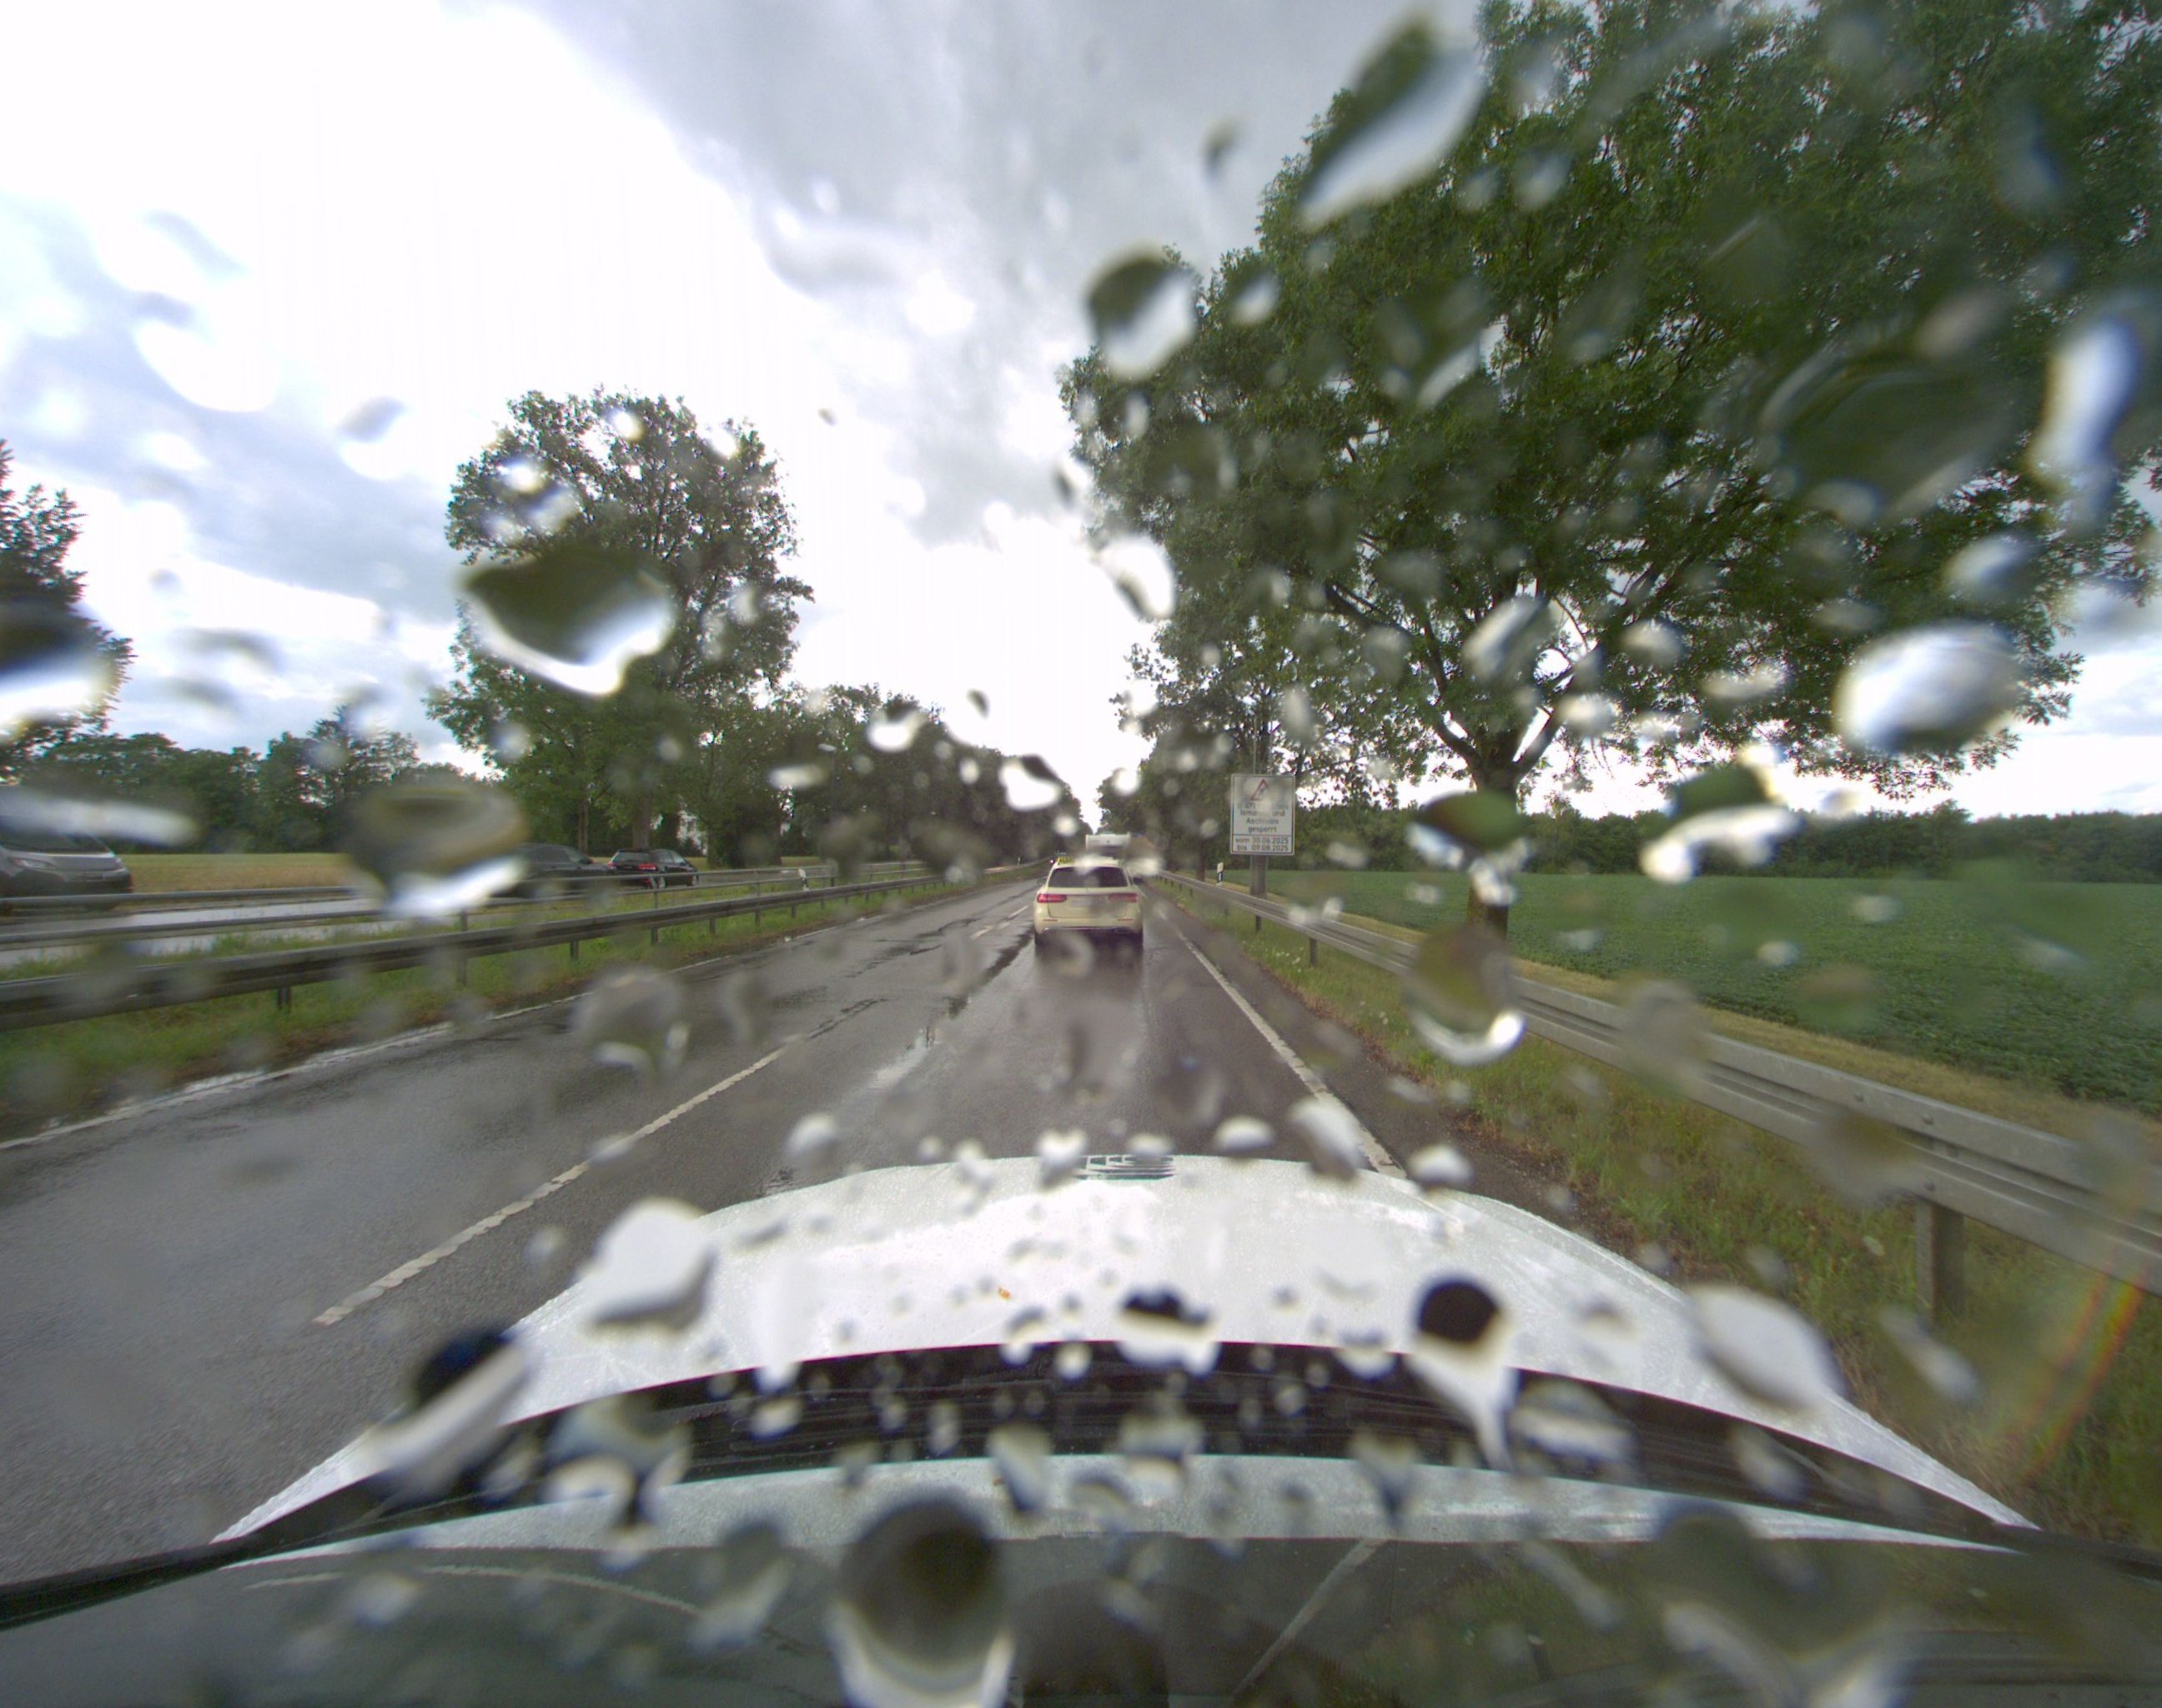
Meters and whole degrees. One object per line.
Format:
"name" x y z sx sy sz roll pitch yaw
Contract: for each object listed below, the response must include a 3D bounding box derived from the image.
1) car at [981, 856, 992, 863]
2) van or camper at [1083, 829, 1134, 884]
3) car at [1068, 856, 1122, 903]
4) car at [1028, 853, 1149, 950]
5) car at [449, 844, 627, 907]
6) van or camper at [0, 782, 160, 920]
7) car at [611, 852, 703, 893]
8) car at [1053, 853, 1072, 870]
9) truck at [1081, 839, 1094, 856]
"car" -20.303 1.127 175.278 1.778 1.416 4.003 1 0 3
"van or camper" 1.509 0.123 42.916 2.479 2.685 5.705 0 0 3
"car" 0.551 0.819 27.797 1.657 1.430 4.003 -1 0 3
"car" 0.221 0.739 14.627 1.857 1.476 4.003 -1 0 3
"car" -14.421 0.506 22.054 1.511 1.491 5.117 1 0 -2
"van or camper" -23.169 -0.106 16.701 5.861 2.677 2.079 1 0 -3
"car" -14.655 0.595 28.351 1.279 1.331 3.895 0 0 -2
"car" -1.872 0.755 84.111 1.758 1.619 4.001 -1 0 1
"truck" 1.481 -1.413 172.439 2.567 3.452 9.557 -1 0 1
